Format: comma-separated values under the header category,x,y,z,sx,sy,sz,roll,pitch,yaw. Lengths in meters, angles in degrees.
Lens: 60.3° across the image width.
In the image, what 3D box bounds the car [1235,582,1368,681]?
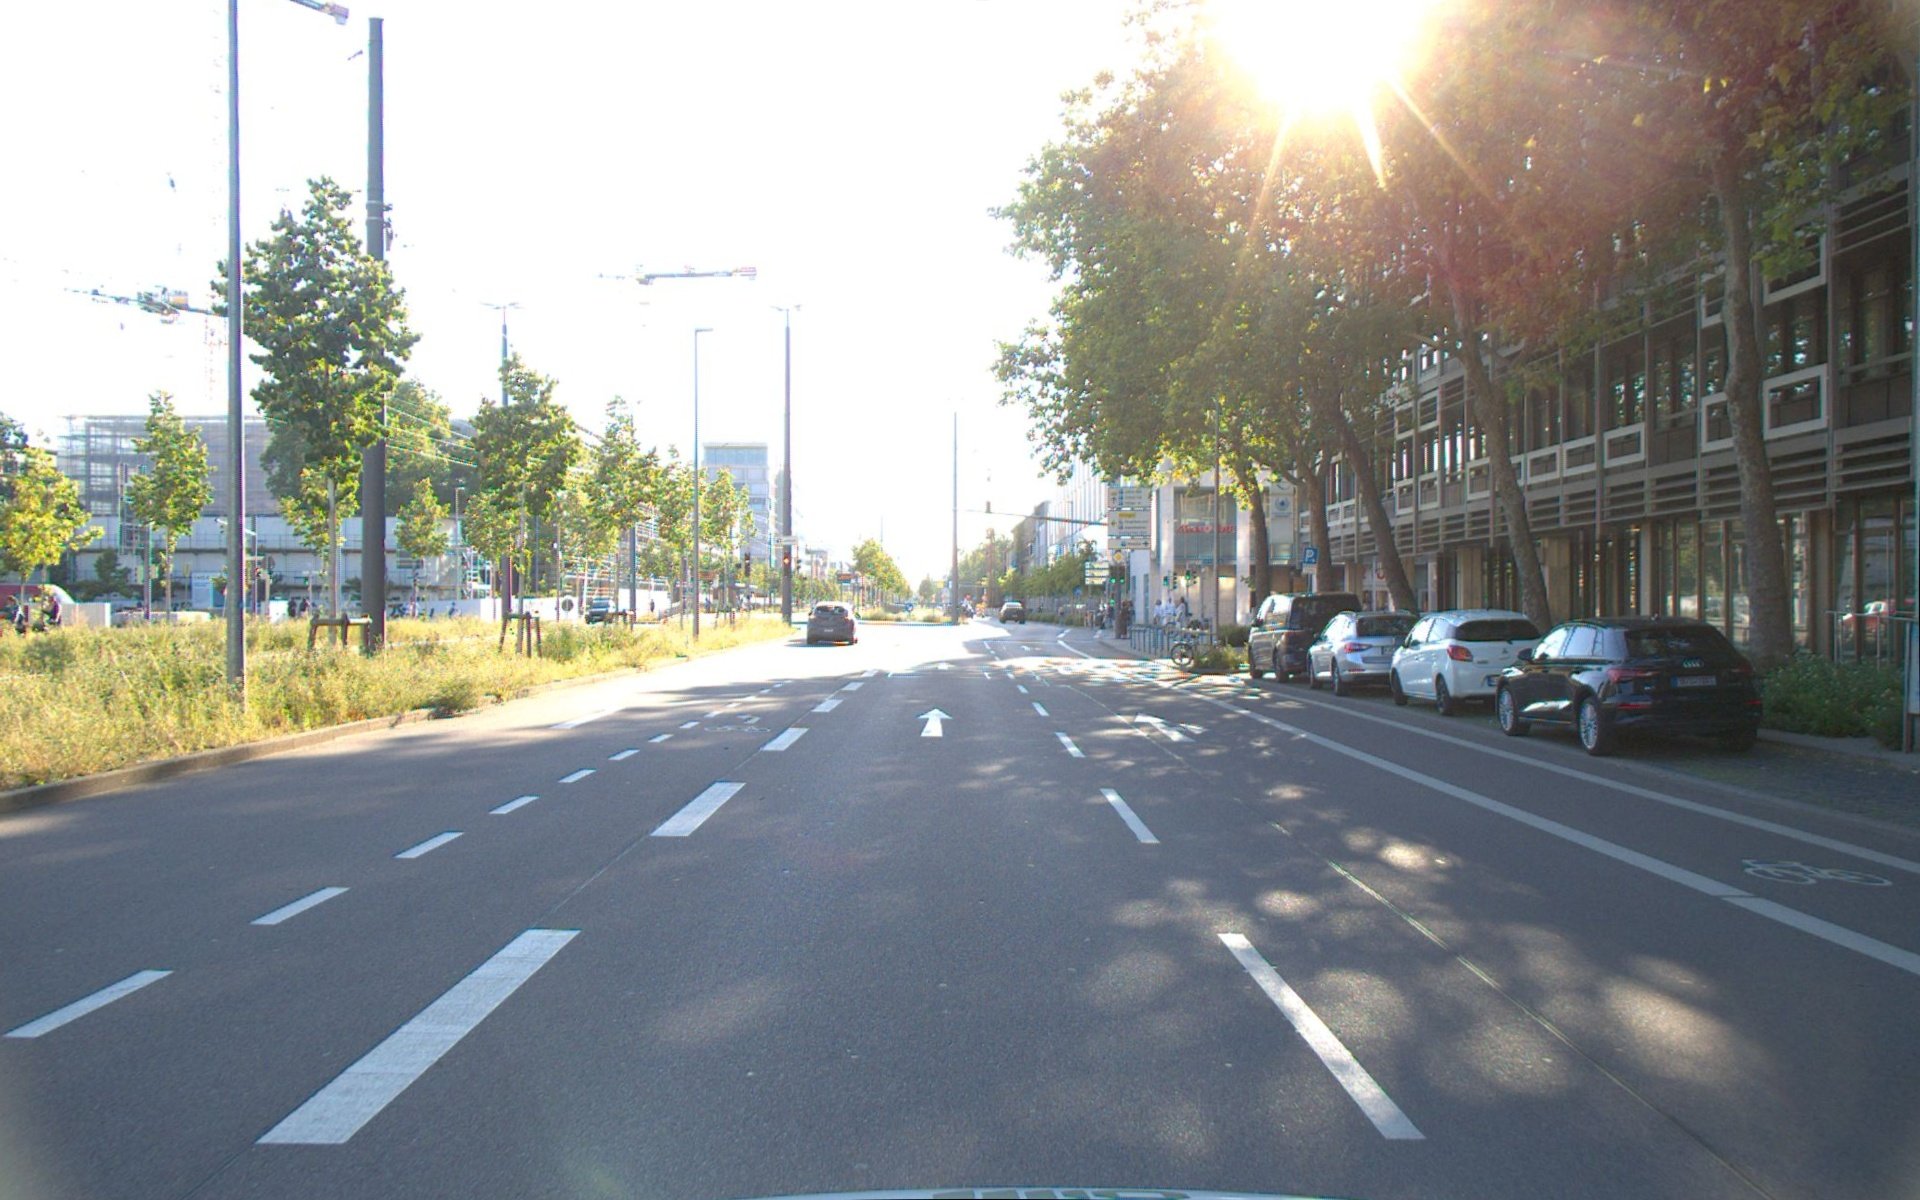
category,x,y,z,sx,sy,sz,roll,pitch,yaw
car,7.581,0.668,37.265,1.792,2.005,5.321,-2,0,0

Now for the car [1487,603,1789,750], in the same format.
category,x,y,z,sx,sy,sz,roll,pitch,yaw
car,7.588,0.782,18.993,1.671,1.443,4.276,-2,0,0

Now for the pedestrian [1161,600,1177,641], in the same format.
category,x,y,z,sx,sy,sz,roll,pitch,yaw
pedestrian,10.858,1.049,85.843,0.750,2.097,0.797,-2,0,6

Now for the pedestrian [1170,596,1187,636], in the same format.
category,x,y,z,sx,sy,sz,roll,pitch,yaw
pedestrian,9.605,0.710,72.647,0.621,1.733,0.570,-1,0,0

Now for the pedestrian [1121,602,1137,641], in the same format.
category,x,y,z,sx,sy,sz,roll,pitch,yaw
pedestrian,7.665,0.958,74.899,0.621,1.733,0.570,-1,0,0

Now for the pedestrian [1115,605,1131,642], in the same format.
category,x,y,z,sx,sy,sz,roll,pitch,yaw
pedestrian,7.337,1.054,74.278,0.621,1.636,0.570,-1,0,0

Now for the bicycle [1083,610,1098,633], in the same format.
category,x,y,z,sx,sy,sz,roll,pitch,yaw
bicycle,7.252,1.189,91.921,0.783,1.225,2.265,0,0,6

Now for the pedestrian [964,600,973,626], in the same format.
category,x,y,z,sx,sy,sz,roll,pitch,yaw
pedestrian,0.577,0.876,111.056,0.483,1.774,0.446,0,0,-11

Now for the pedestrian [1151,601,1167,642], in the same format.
category,x,y,z,sx,sy,sz,roll,pitch,yaw
pedestrian,10.425,1.109,86.698,0.750,2.097,0.797,-2,0,6

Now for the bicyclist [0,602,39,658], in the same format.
category,x,y,z,sx,sy,sz,roll,pitch,yaw
bicyclist,-25.291,0.791,44.349,0.572,1.467,1.075,1,0,0

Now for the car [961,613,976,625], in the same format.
category,x,y,z,sx,sy,sz,roll,pitch,yaw
car,1.013,2.293,201.461,1.724,1.511,3.848,0,0,-2

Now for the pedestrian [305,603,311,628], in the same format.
category,x,y,z,sx,sy,sz,roll,pitch,yaw
pedestrian,-38.963,0.917,98.861,0.269,1.490,0.315,1,0,-18

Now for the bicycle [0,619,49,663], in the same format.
category,x,y,z,sx,sy,sz,roll,pitch,yaw
bicycle,-25.279,1.098,44.387,0.572,1.124,1.987,1,0,0

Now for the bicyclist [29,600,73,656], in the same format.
category,x,y,z,sx,sy,sz,roll,pitch,yaw
bicyclist,-24.484,0.744,44.576,0.572,1.467,1.075,1,0,0

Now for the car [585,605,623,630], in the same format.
category,x,y,z,sx,sy,sz,roll,pitch,yaw
car,-26.297,1.290,122.255,1.953,1.807,3.999,0,0,-1

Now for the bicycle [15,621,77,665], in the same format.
category,x,y,z,sx,sy,sz,roll,pitch,yaw
bicycle,-24.483,1.151,44.339,0.572,1.124,1.987,1,0,0

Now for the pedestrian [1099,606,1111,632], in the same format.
category,x,y,z,sx,sy,sz,roll,pitch,yaw
pedestrian,9.804,1.302,112.009,0.800,1.765,0.790,0,0,3

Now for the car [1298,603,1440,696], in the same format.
category,x,y,z,sx,sy,sz,roll,pitch,yaw
car,7.539,0.855,30.948,1.646,1.541,5.061,-2,0,3

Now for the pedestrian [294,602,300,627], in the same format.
category,x,y,z,sx,sy,sz,roll,pitch,yaw
pedestrian,-39.517,0.890,98.609,0.268,1.490,0.279,0,0,-5

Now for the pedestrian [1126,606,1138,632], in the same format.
category,x,y,z,sx,sy,sz,roll,pitch,yaw
pedestrian,11.668,1.279,112.082,0.800,1.765,0.790,0,0,3

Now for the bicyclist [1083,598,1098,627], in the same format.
category,x,y,z,sx,sy,sz,roll,pitch,yaw
bicyclist,7.268,0.681,91.986,0.783,1.630,0.785,0,0,5

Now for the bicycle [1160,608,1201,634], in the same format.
category,x,y,z,sx,sy,sz,roll,pitch,yaw
bicycle,9.823,0.940,73.690,1.766,1.105,0.479,-1,0,1

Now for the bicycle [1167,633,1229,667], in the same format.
category,x,y,z,sx,sy,sz,roll,pitch,yaw
bicycle,6.499,1.357,45.200,1.656,0.882,0.573,-1,0,8

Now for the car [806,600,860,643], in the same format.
category,x,y,z,sx,sy,sz,roll,pitch,yaw
car,-4.485,0.732,58.885,1.741,1.453,3.998,1,0,-2

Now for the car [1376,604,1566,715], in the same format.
category,x,y,z,sx,sy,sz,roll,pitch,yaw
car,7.685,0.845,25.241,1.647,1.504,3.874,-2,0,0

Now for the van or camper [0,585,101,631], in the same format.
category,x,y,z,sx,sy,sz,roll,pitch,yaw
van or camper,-49.900,0.439,89.590,5.543,2.456,2.155,0,0,1

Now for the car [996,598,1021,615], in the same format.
category,x,y,z,sx,sy,sz,roll,pitch,yaw
car,4.194,0.537,143.581,1.901,1.453,3.923,0,0,-2

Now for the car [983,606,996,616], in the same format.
category,x,y,z,sx,sy,sz,roll,pitch,yaw
car,4.236,1.565,240.634,1.669,1.453,3.923,0,0,-2
